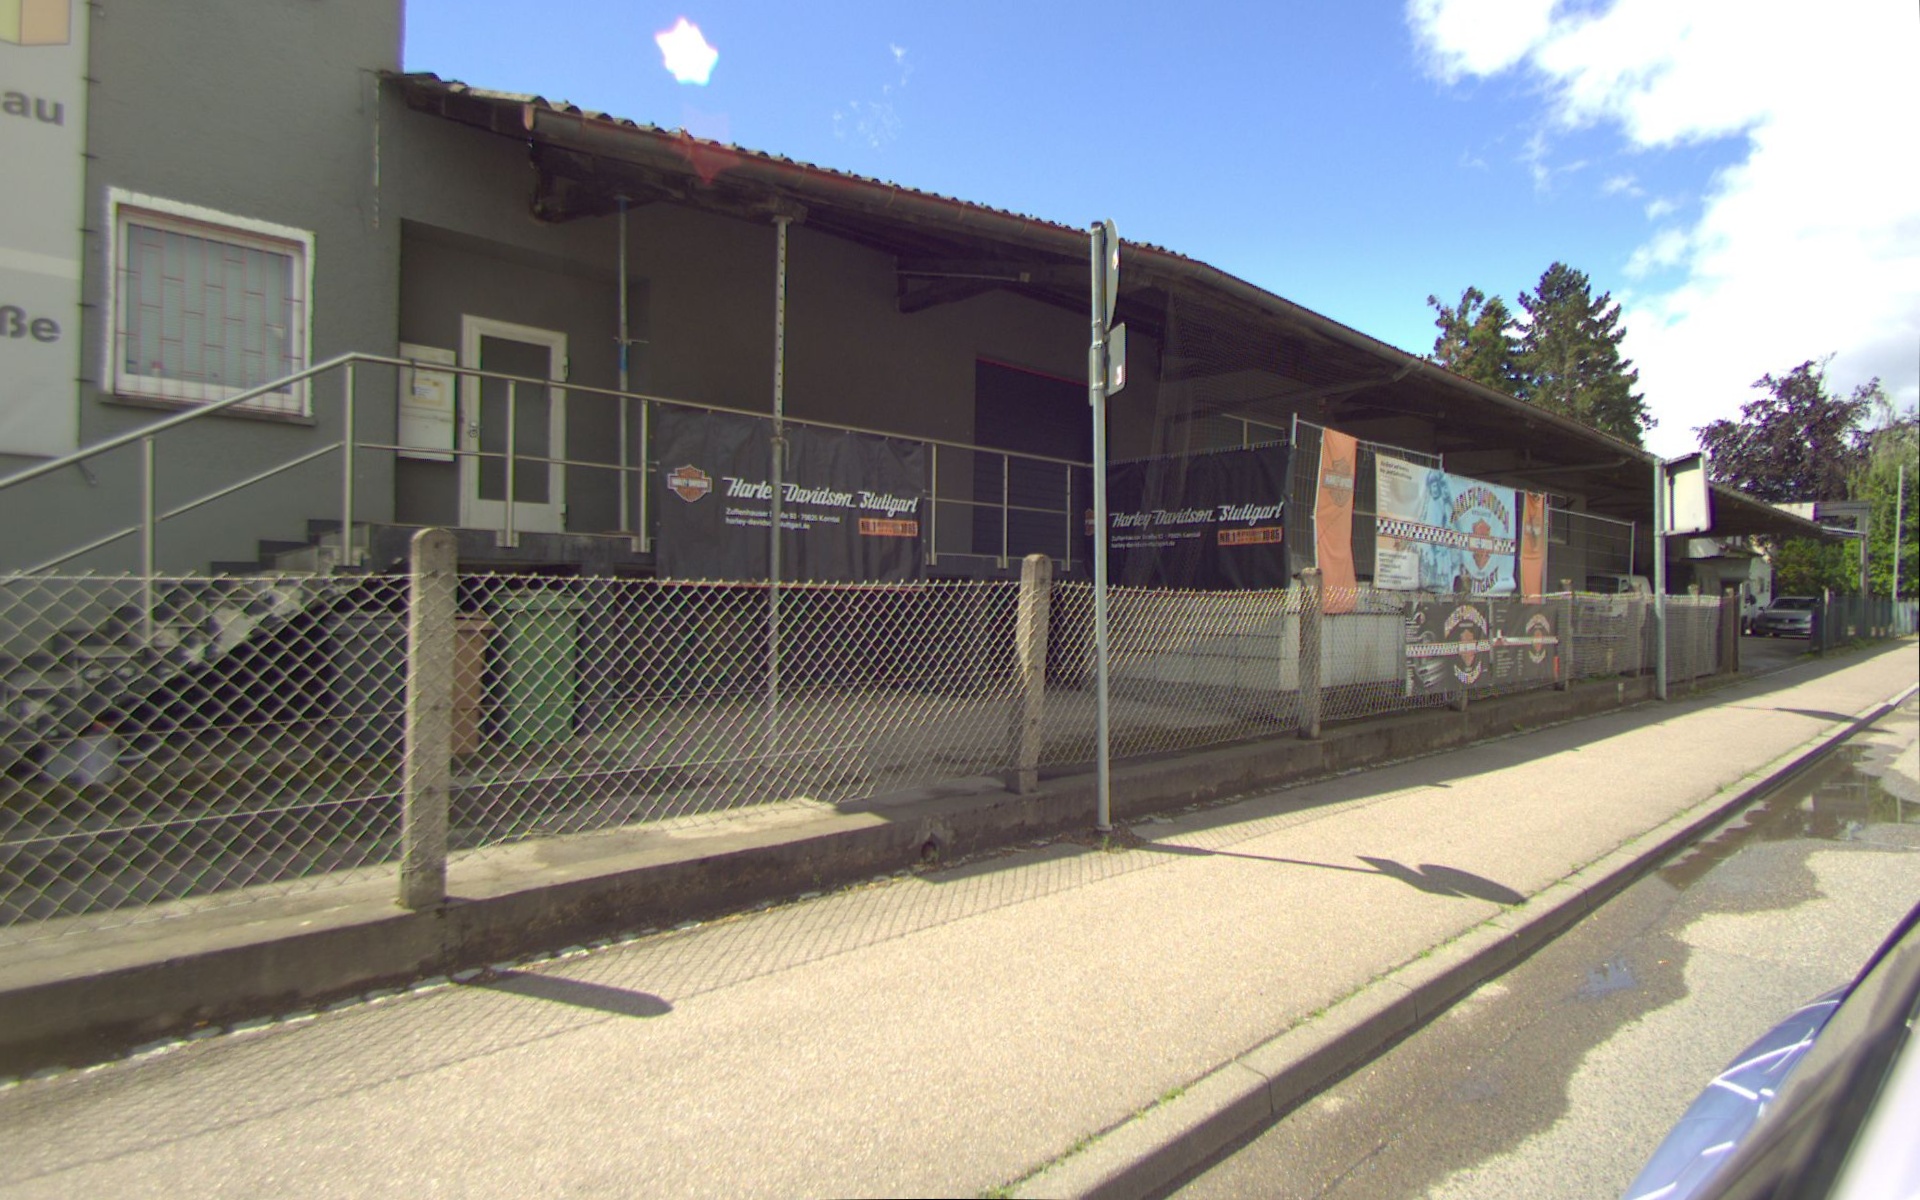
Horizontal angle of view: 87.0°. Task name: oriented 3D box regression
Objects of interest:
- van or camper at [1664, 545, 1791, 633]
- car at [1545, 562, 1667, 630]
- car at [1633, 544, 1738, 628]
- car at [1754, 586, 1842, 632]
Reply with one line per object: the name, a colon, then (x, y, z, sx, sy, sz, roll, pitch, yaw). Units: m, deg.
van or camper: (29.606, -0.417, 38.926, 6.798, 3.099, 2.883, 0, 0, -44)
car: (19.795, -0.099, 30.910, 4.770, 1.934, 1.996, 1, 0, -43)
car: (25.168, -0.407, 35.009, 5.405, 2.715, 2.019, 2, -1, -44)
car: (29.573, 0.313, 35.671, 4.842, 1.508, 1.766, 1, 0, -43)
